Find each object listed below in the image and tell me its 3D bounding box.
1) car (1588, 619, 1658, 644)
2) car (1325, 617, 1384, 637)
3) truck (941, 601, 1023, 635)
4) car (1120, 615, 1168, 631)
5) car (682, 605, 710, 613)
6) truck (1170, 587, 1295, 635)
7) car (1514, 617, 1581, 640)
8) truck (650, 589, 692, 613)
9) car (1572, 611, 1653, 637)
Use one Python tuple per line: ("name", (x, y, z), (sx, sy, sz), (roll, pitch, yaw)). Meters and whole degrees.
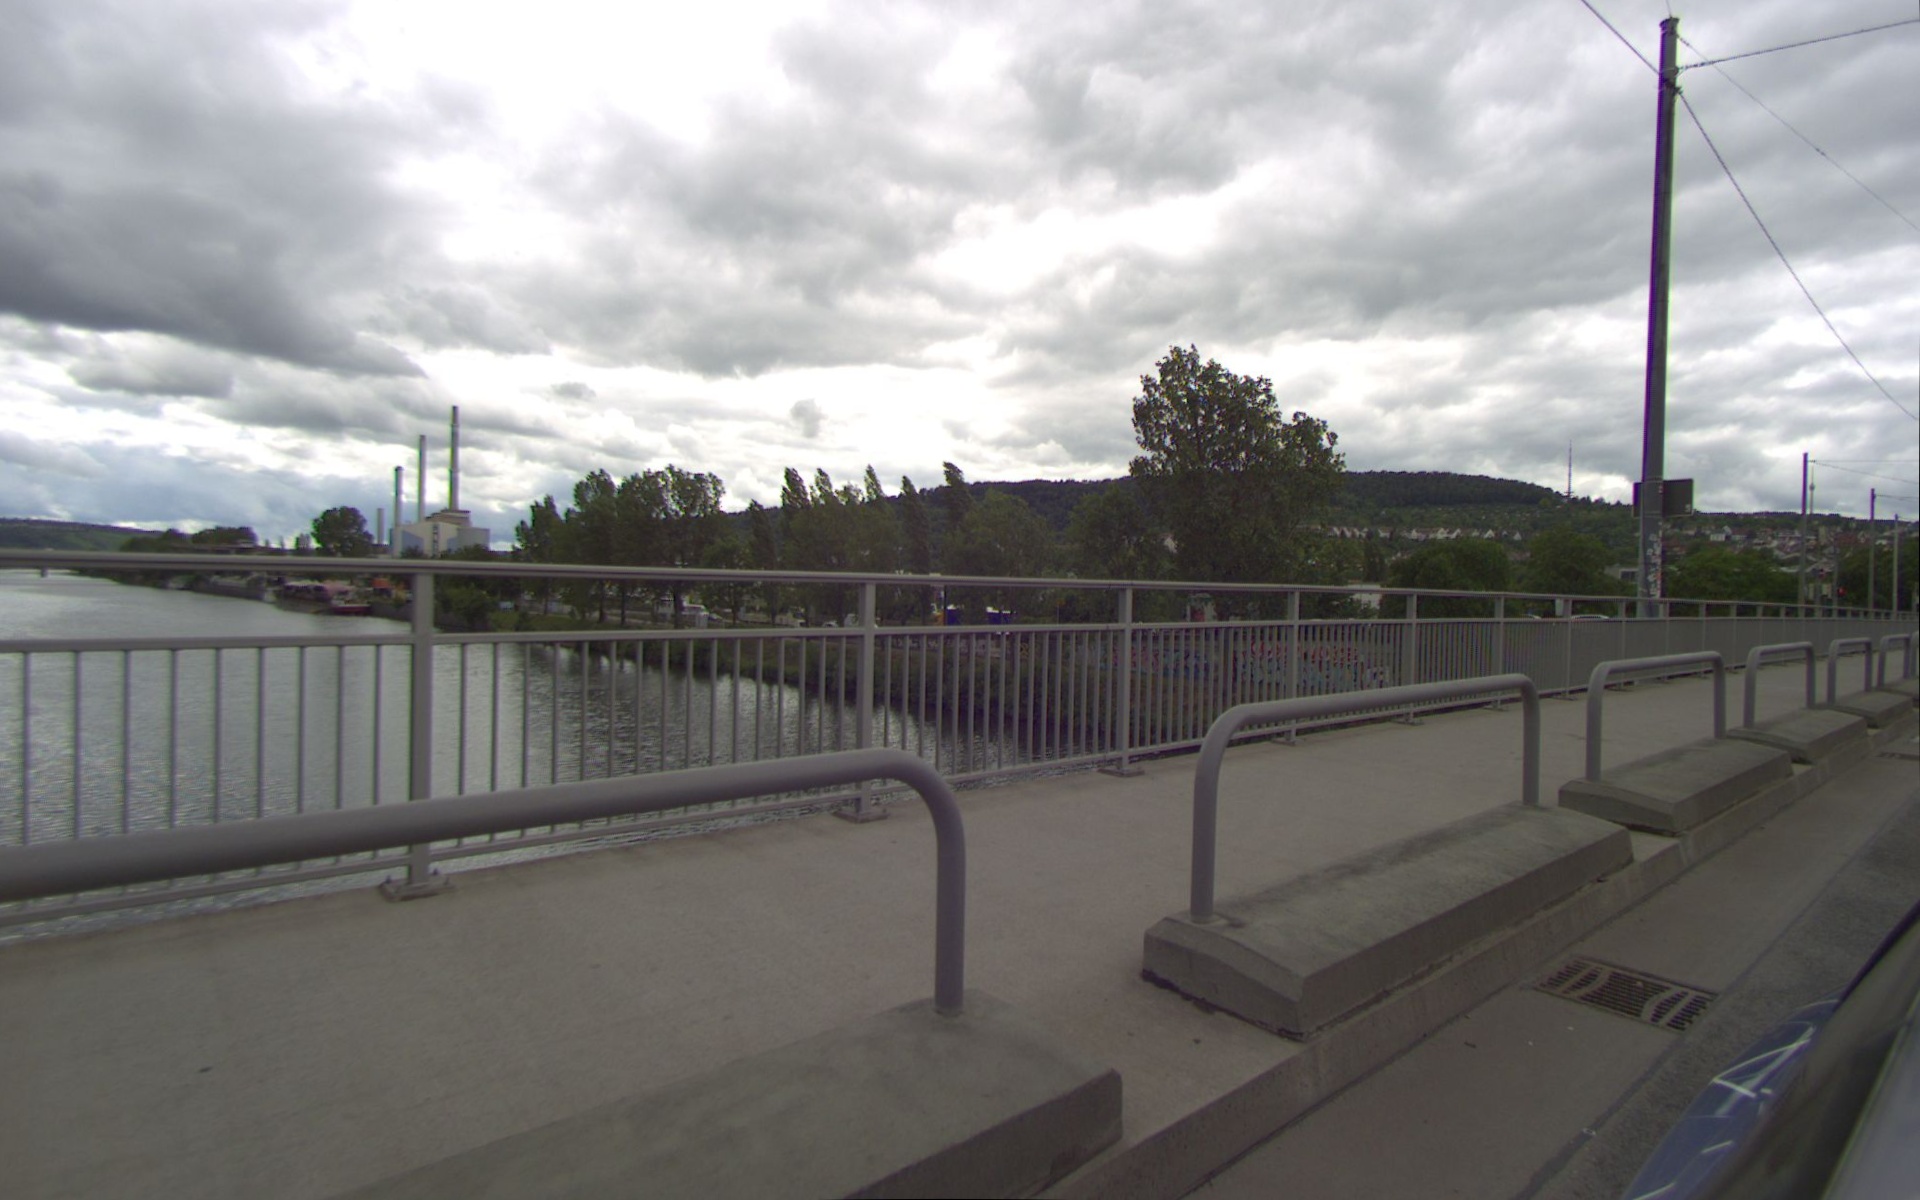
("car", (43.900, 2.053, 67.053), (1.667, 1.559, 3.616), (0, -1, -42))
("car", (31.296, 2.108, 80.291), (1.667, 1.559, 4.039), (0, -1, -42))
("truck", (3.175, 2.621, 152.999), (3.322, 3.964, 14.413), (2, 3, -41))
("car", (17.909, 2.209, 98.865), (1.889, 1.559, 4.383), (0, -1, -42))
("car", (-50.051, 1.656, 191.806), (5.994, 1.559, 2.658), (-1, -1, 45))
("truck", (23.679, 0.915, 88.494), (3.173, 3.928, 10.403), (2, -1, -43))
("car", (40.844, 1.943, 70.414), (1.667, 1.559, 3.752), (0, -1, -42))
("truck", (-64.210, 0.163, 224.680), (3.526, 4.541, 13.163), (2, 3, -42))
("car", (45.017, 1.628, 69.907), (1.965, 1.640, 4.335), (-1, 0, -41))
